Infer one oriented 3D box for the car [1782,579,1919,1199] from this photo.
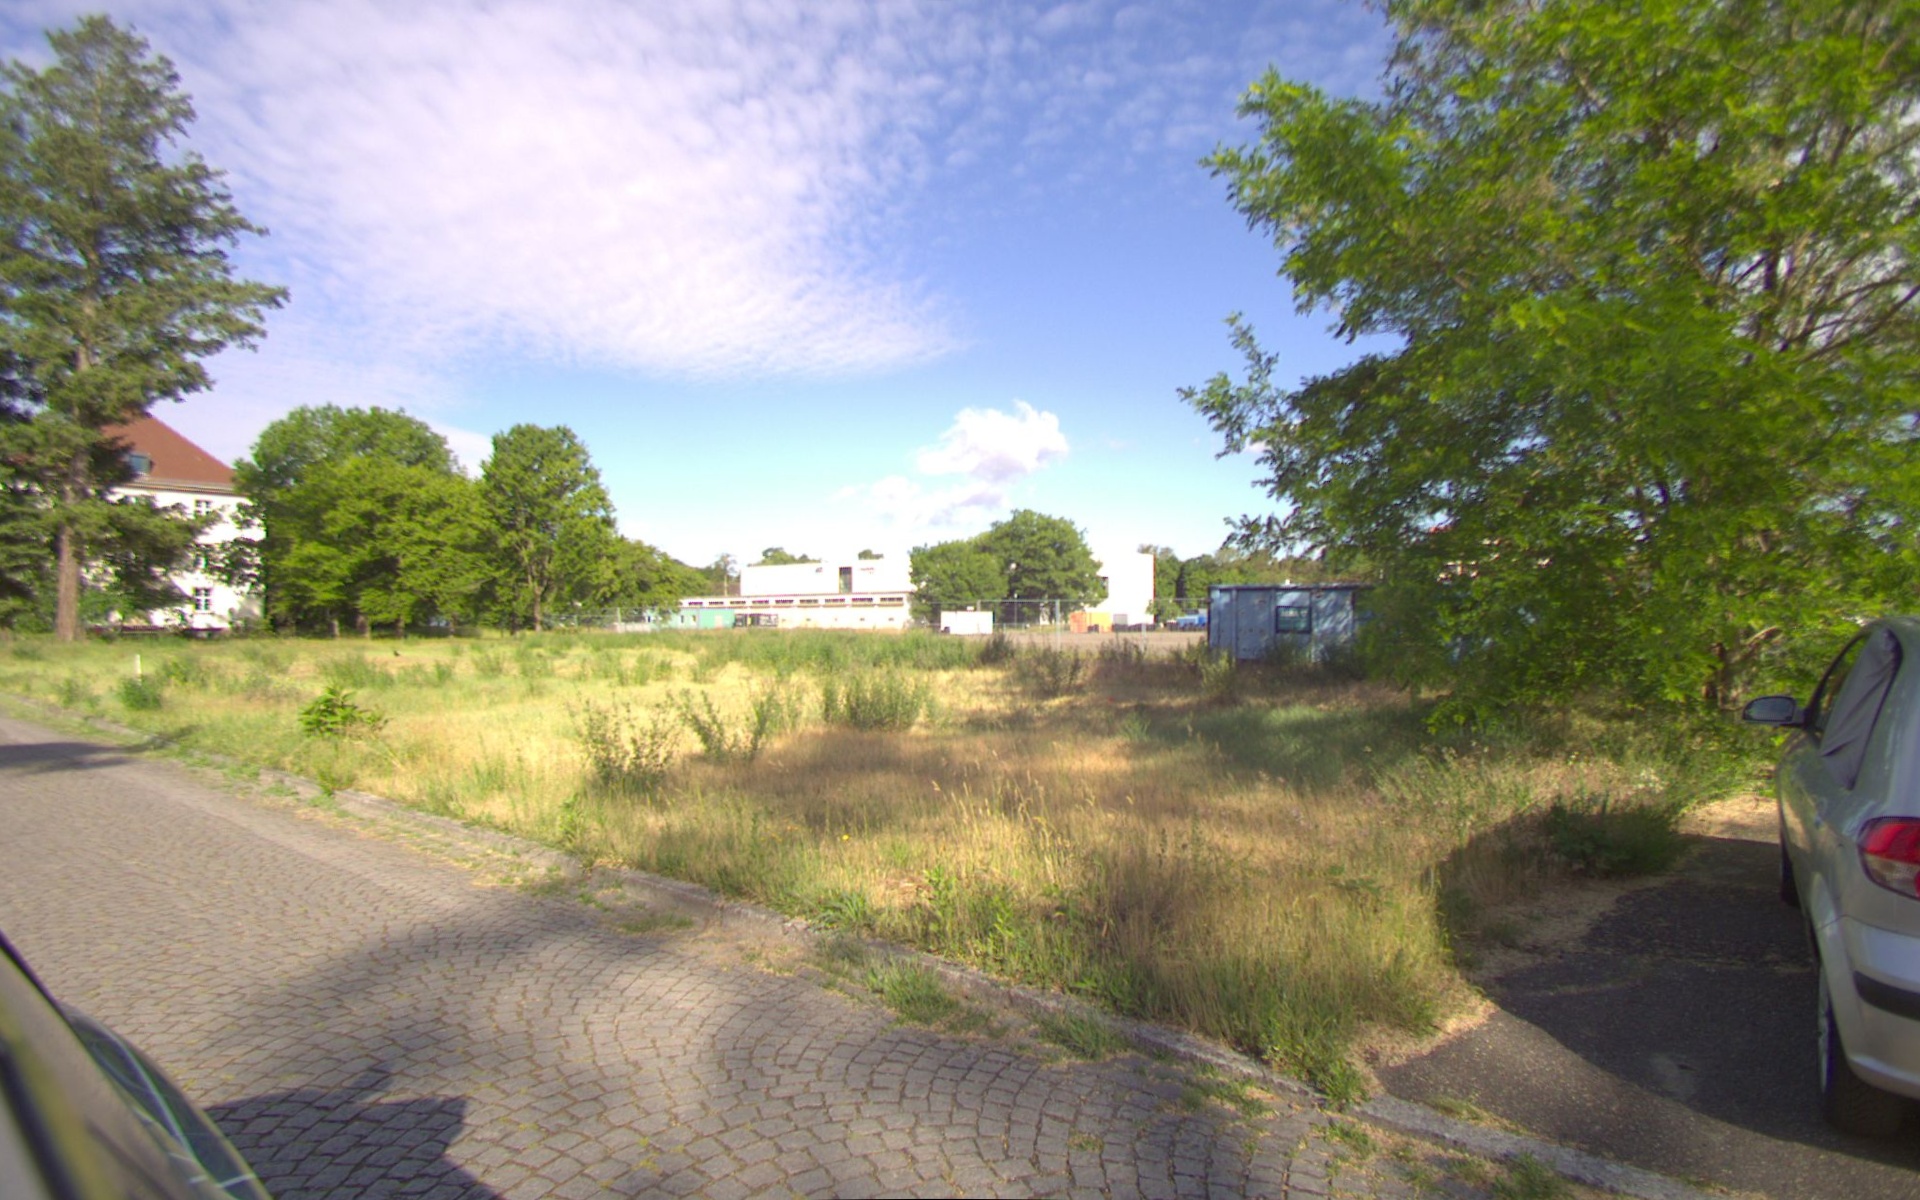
[{"bbox_3d":[3.870,0.697,3.349,1.634,1.482,3.433,-1,1,37],"label":"car"}]
